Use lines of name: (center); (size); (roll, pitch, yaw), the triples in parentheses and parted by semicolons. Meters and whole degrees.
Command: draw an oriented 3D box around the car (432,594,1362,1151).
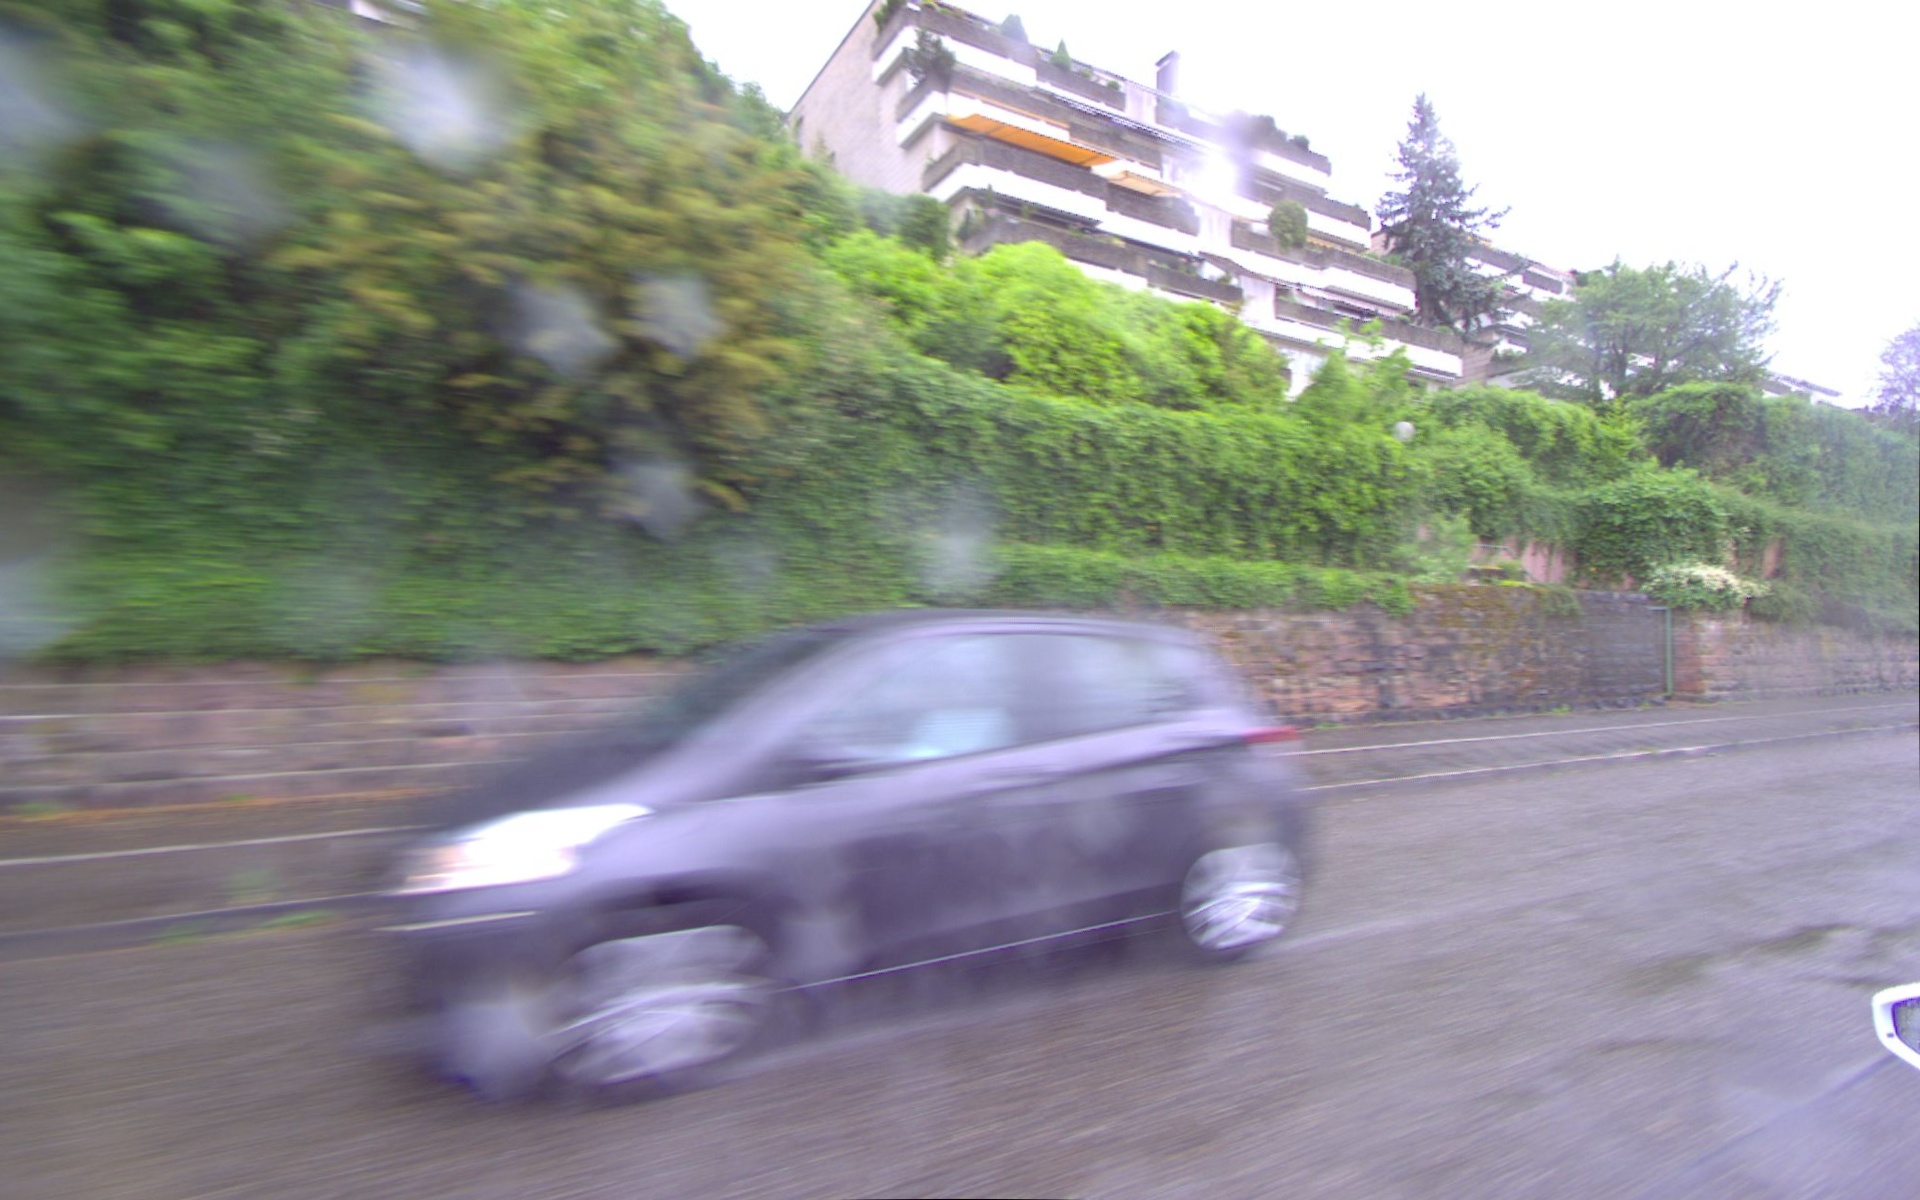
car: (-0.139, 0.792, 4.304); (3.663, 1.461, 1.585); (2, -3, -32)
